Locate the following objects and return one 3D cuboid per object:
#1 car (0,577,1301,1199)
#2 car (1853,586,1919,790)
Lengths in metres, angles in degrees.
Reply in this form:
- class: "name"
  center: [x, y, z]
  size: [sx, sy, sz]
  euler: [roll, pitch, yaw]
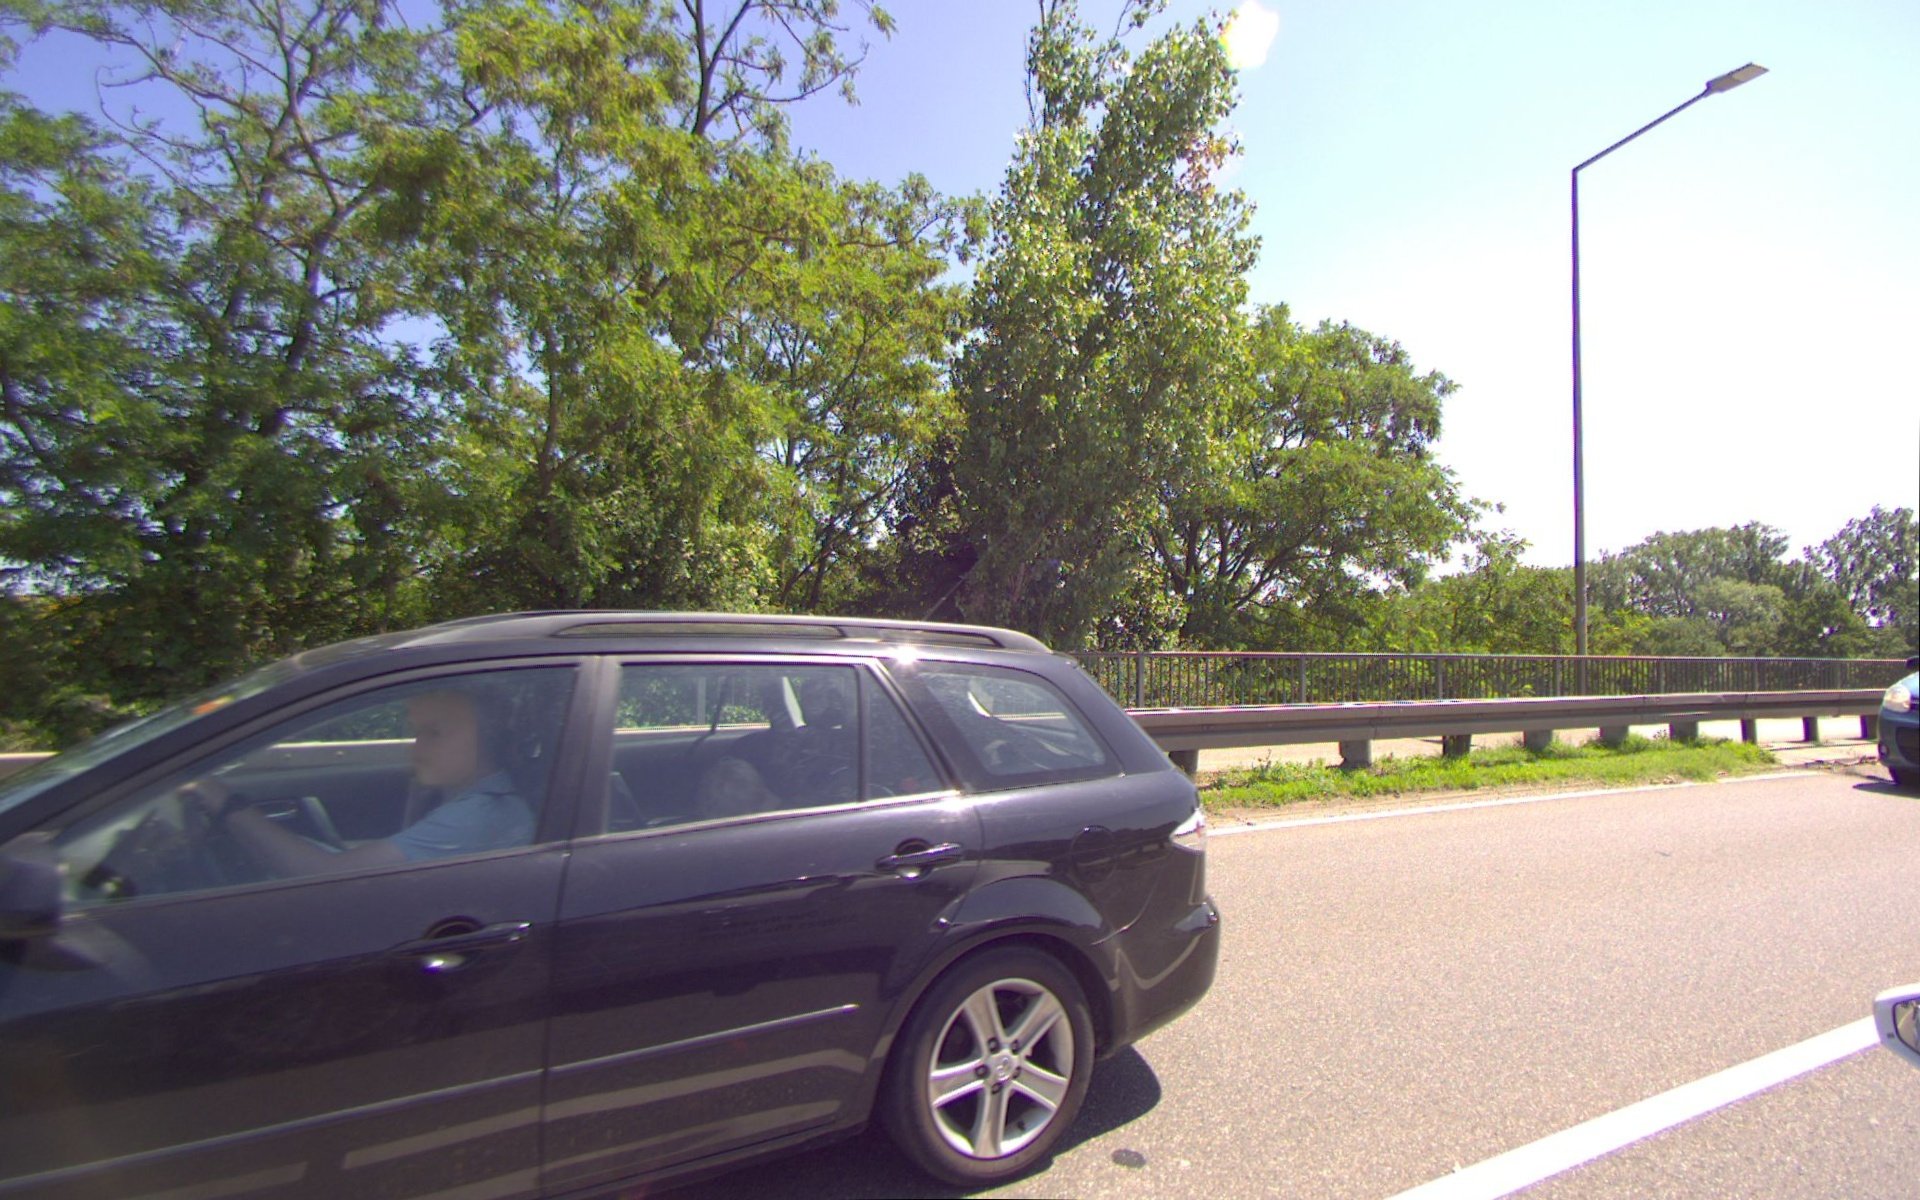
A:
- class: "car"
  center: [-1.381, 0.713, 2.681]
  size: [4.512, 1.462, 1.749]
  euler: [2, -1, -29]
- class: "car"
  center: [10.918, 0.866, 9.821]
  size: [4.217, 1.879, 1.751]
  euler: [2, -1, -25]
